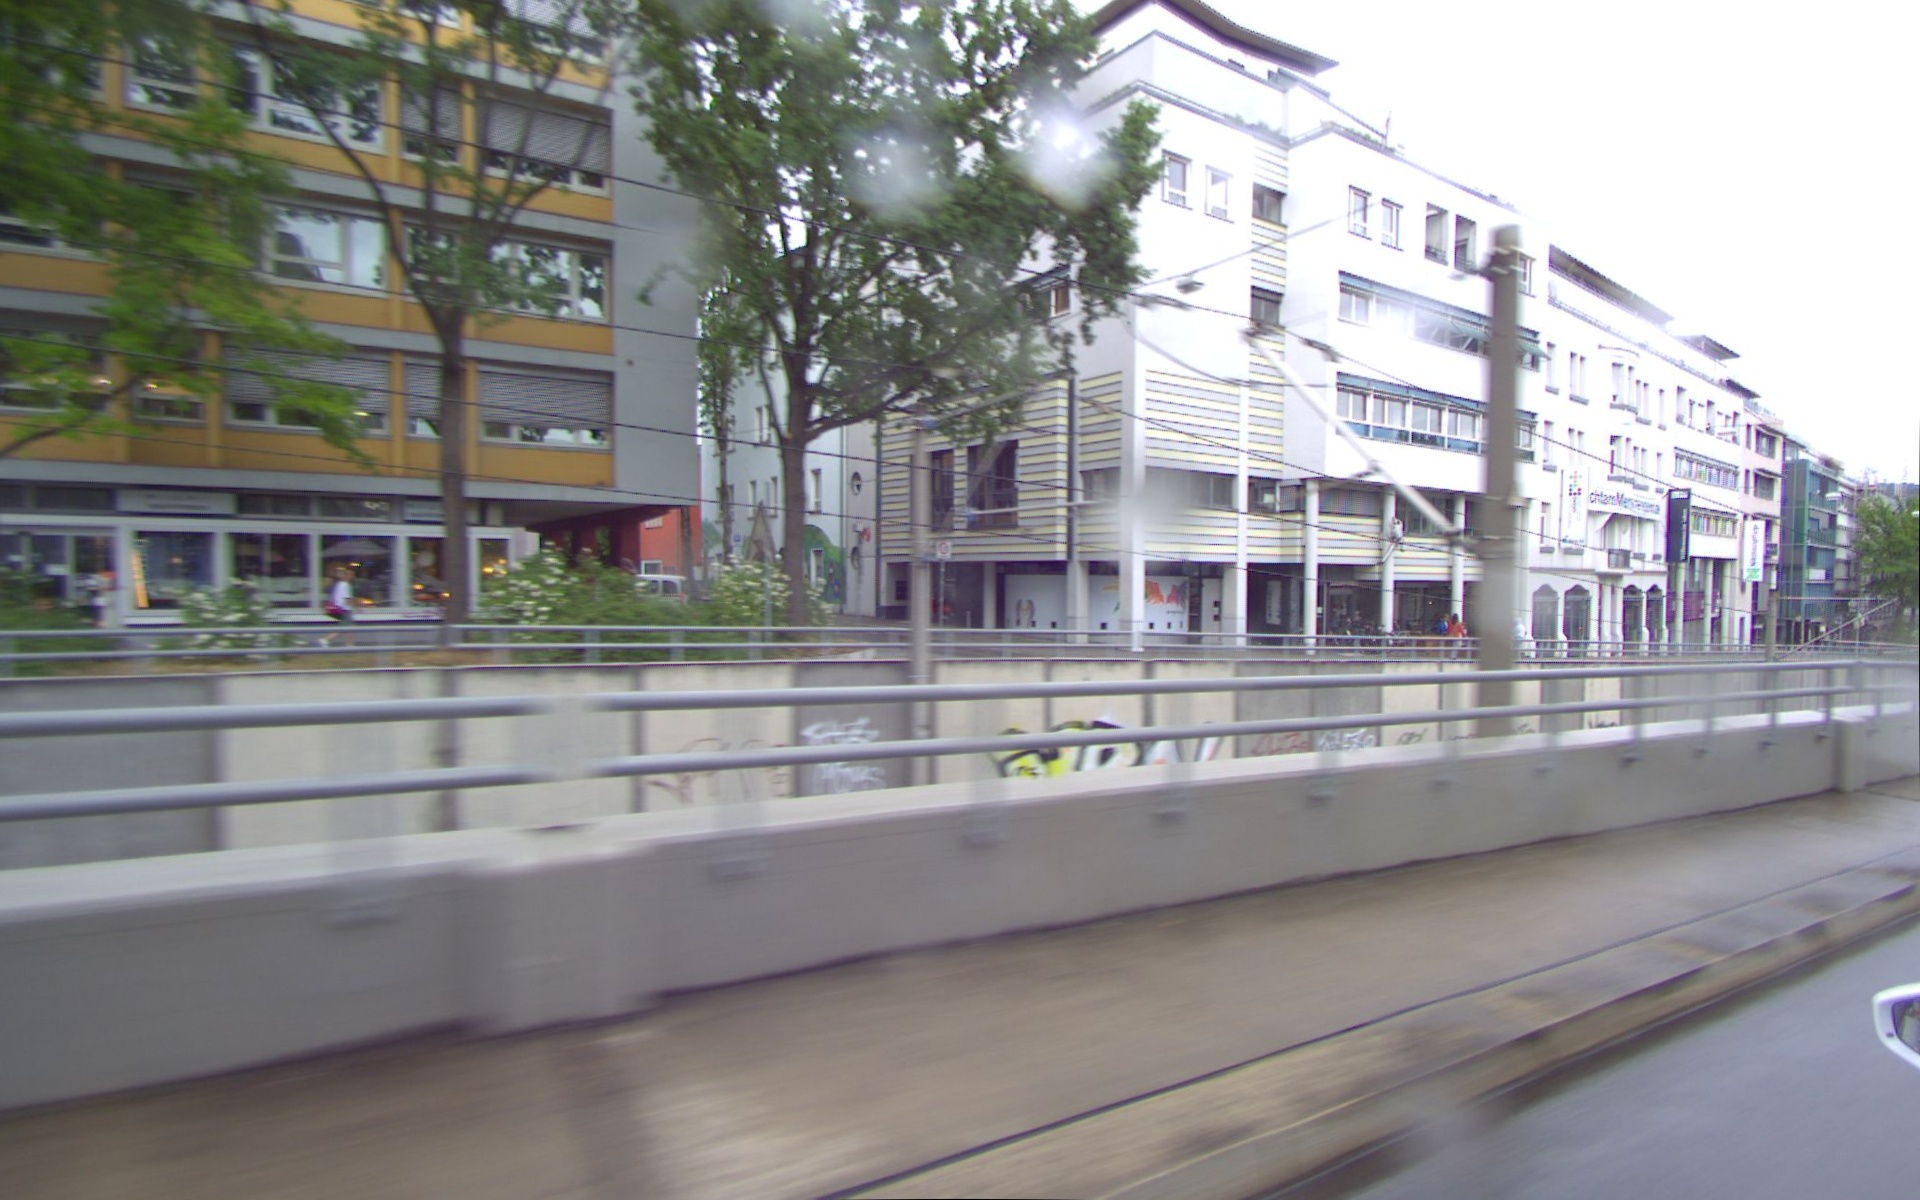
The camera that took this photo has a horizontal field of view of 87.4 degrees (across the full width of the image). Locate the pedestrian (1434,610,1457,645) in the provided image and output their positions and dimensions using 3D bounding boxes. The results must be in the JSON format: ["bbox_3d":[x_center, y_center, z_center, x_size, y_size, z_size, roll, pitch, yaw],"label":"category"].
[{"bbox_3d":[20.252,1.157,41.901,0.667,1.438,0.603,1,1,-35],"label":"pedestrian"}]

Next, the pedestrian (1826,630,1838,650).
[{"bbox_3d":[76.919,3.542,88.619,0.484,1.694,0.658,2,0,-40],"label":"pedestrian"}]

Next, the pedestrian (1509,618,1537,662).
[{"bbox_3d":[21.763,1.535,38.820,0.660,1.665,0.796,2,1,7],"label":"pedestrian"}]

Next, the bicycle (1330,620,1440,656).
[{"bbox_3d":[15.933,1.402,37.572,4.478,1.058,1.681,0,5,-36],"label":"bicycle"}]

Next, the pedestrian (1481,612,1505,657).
[{"bbox_3d":[21.297,1.361,40.142,0.660,1.745,0.609,2,1,10],"label":"pedestrian"}]

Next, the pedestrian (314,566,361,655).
[{"bbox_3d":[-13.513,0.238,21.811,0.820,1.873,0.662,1,-1,-31],"label":"pedestrian"}]

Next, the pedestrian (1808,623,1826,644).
[{"bbox_3d":[78.219,3.050,91.671,0.945,1.893,0.862,2,1,-21],"label":"pedestrian"}]

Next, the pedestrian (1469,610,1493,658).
[{"bbox_3d":[20.327,1.306,39.151,0.662,1.809,0.939,2,1,35],"label":"pedestrian"}]

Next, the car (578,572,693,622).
[{"bbox_3d":[-12.433,-0.108,38.736,3.928,1.811,1.827,1,0,-9],"label":"car"}]

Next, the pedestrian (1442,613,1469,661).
[{"bbox_3d":[17.531,1.300,35.523,0.662,1.638,0.939,2,1,35],"label":"pedestrian"}]
